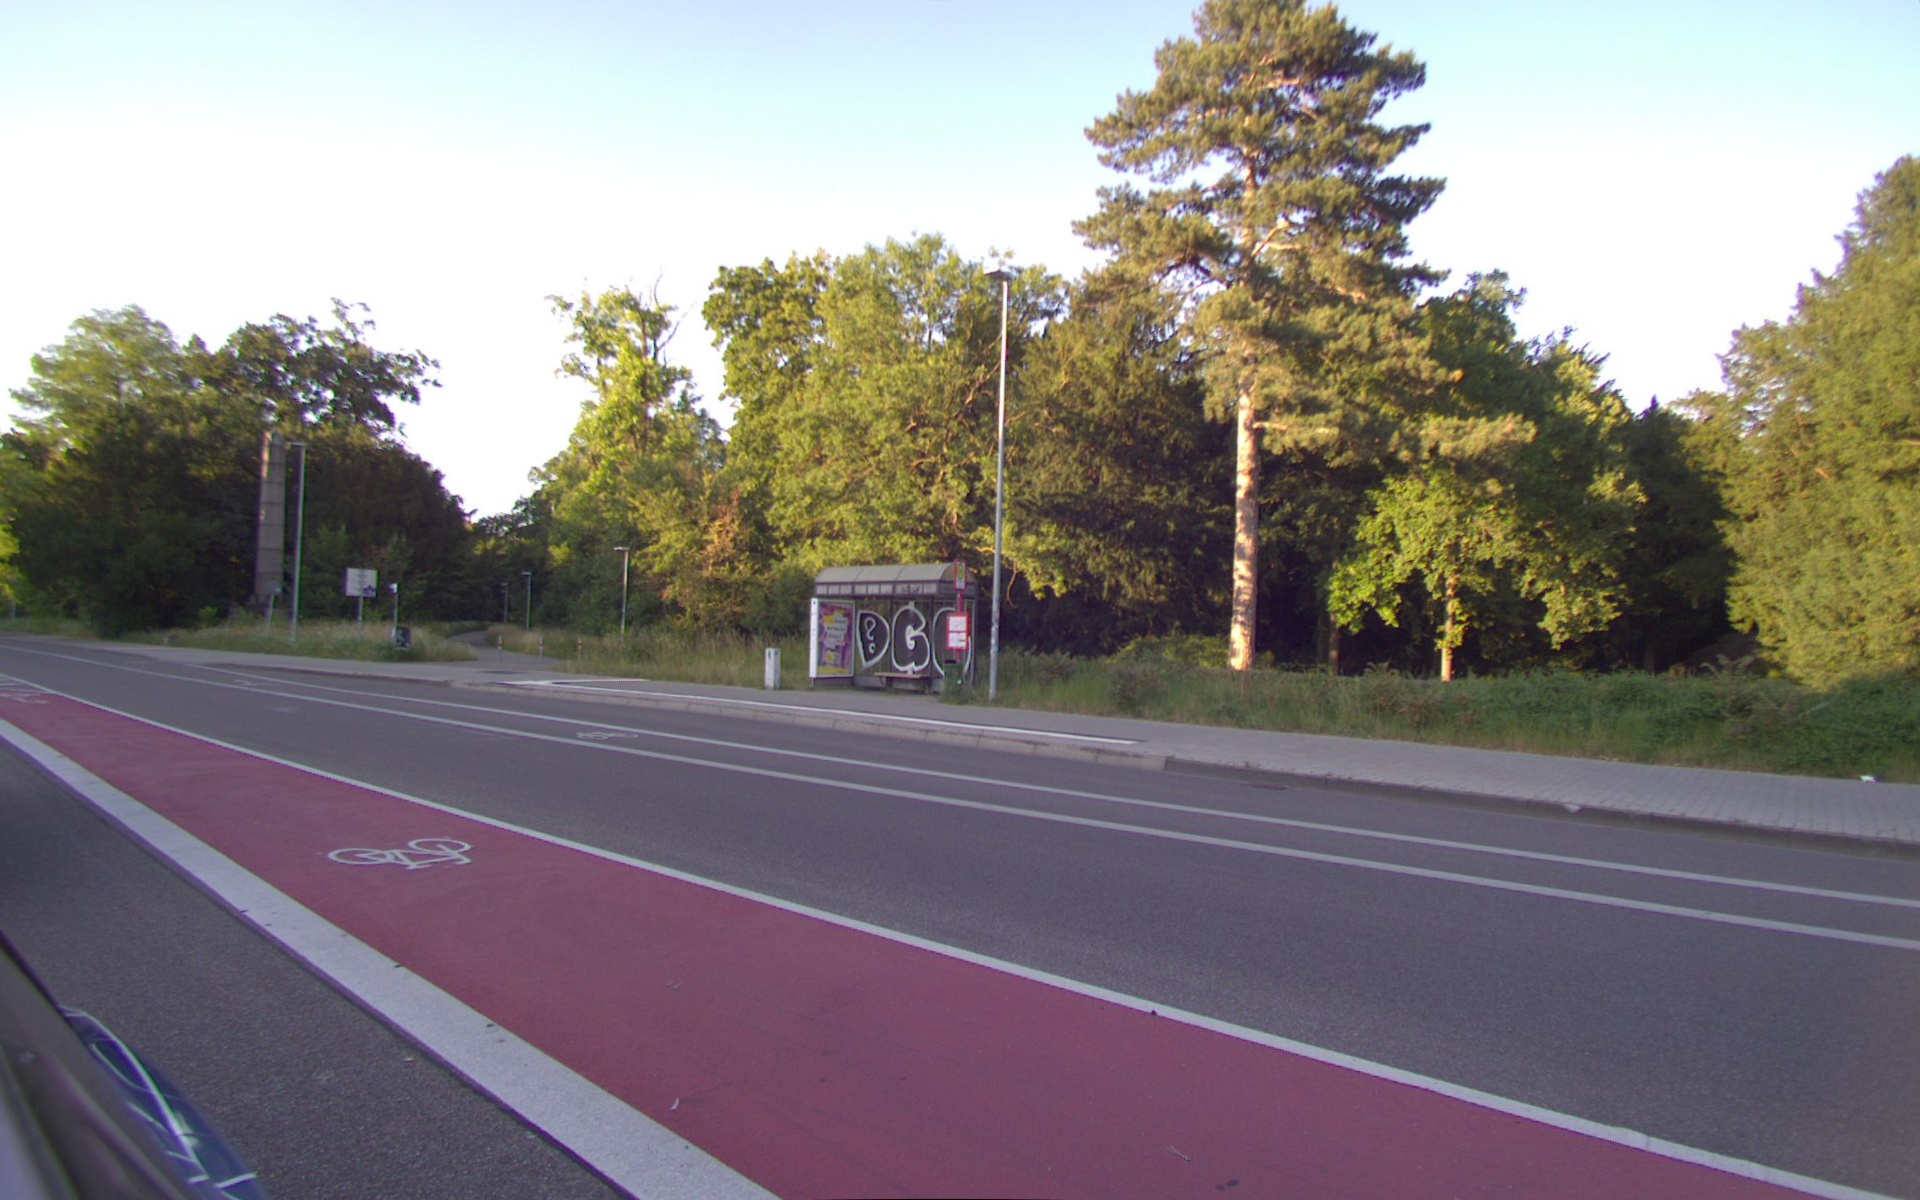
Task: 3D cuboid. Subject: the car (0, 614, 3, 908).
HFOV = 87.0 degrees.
[{"bbox_3d":[-7.181,0.794,5.745,5.206,1.410,1.796,0,0,38],"label":"car"}]
